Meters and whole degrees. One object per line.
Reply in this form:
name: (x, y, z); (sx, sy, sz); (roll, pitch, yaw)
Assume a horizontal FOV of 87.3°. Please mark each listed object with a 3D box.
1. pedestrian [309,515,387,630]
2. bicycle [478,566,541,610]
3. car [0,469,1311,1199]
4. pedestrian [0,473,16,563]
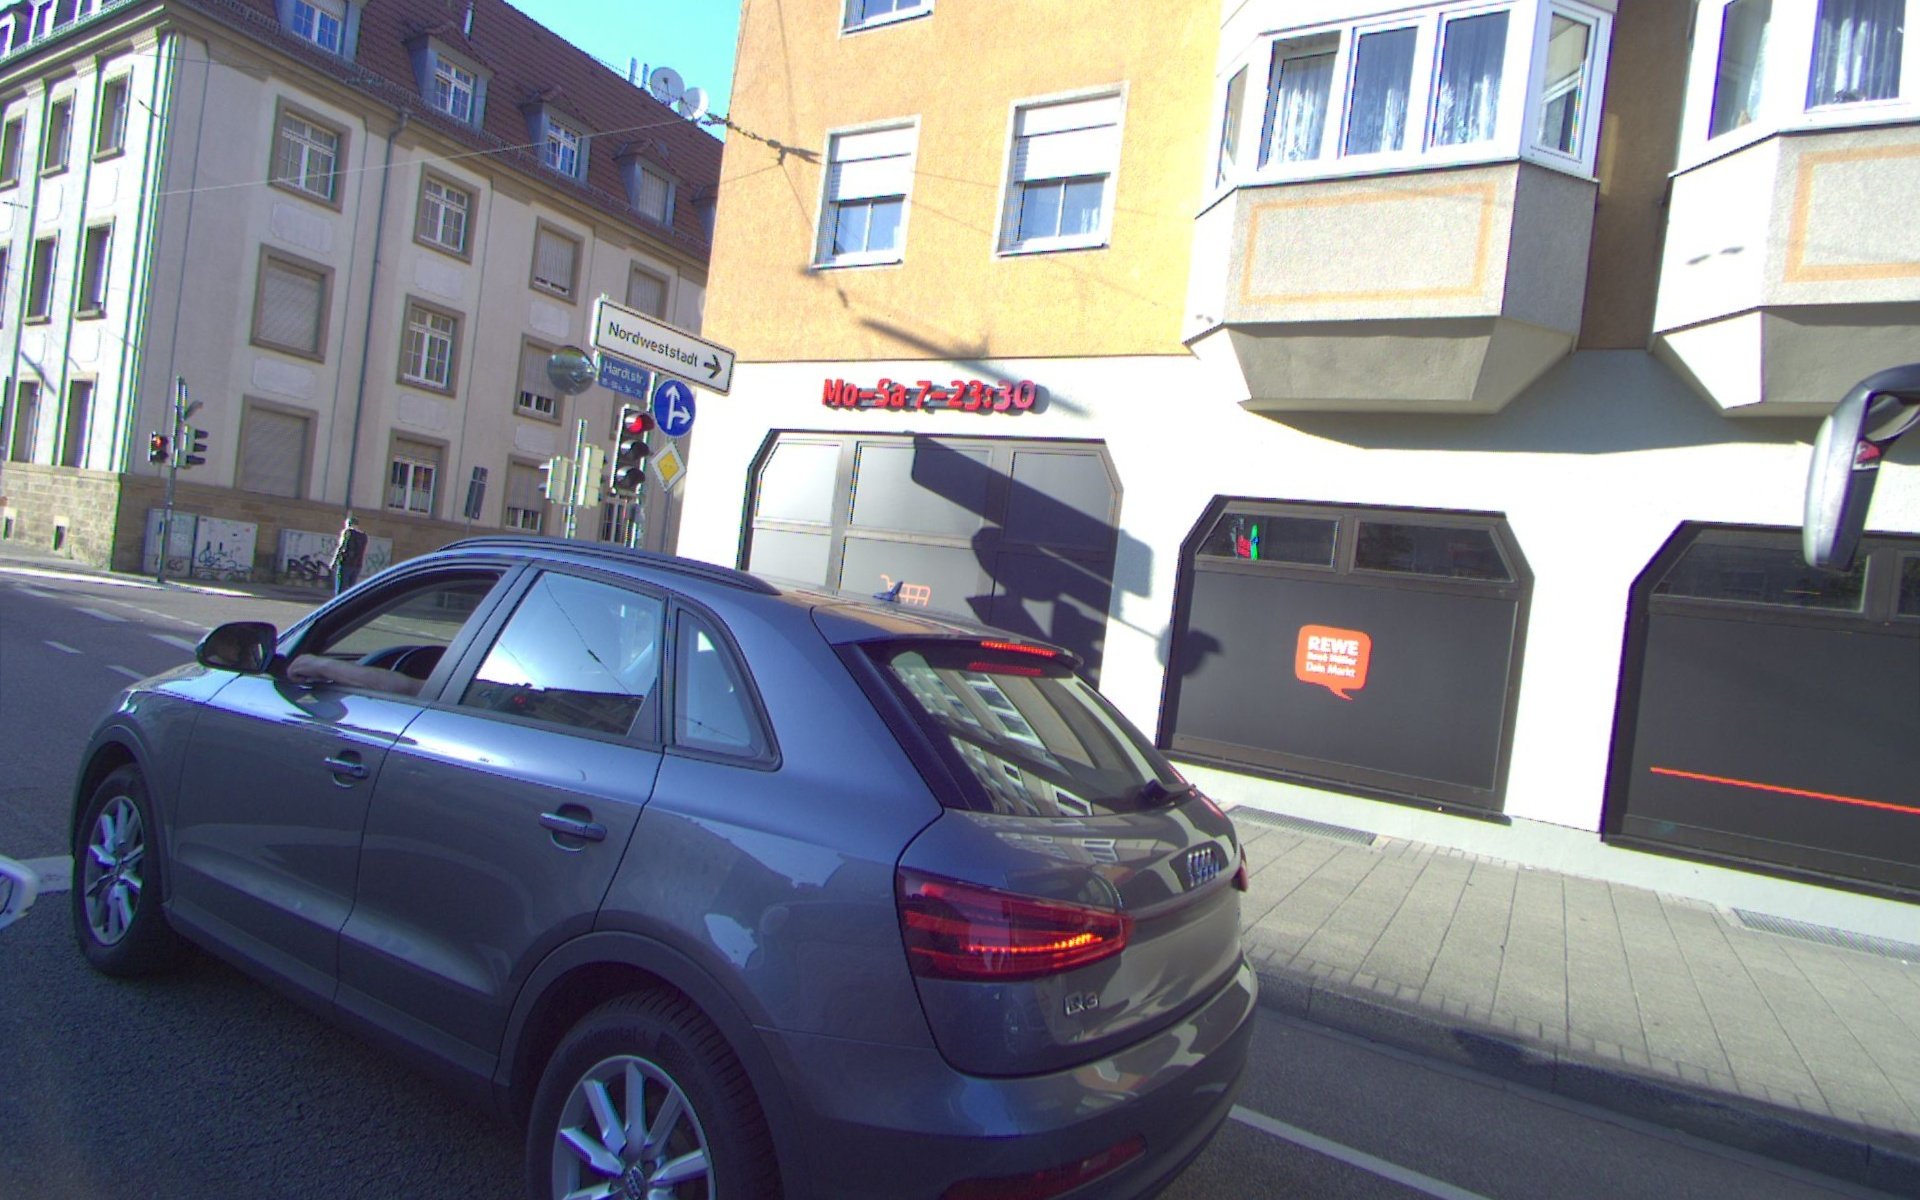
pedestrian: (-10.121, -0.455, 16.640); (0.812, 1.778, 0.630); (6, -1, 32)
bicycle: (-12.512, -0.328, 27.960); (1.499, 1.029, 0.247); (9, -2, -43)
car: (-1.258, 0.606, 3.307); (4.155, 1.570, 1.701); (7, -2, 32)
pedestrian: (-19.620, -1.700, 20.036); (0.810, 1.783, 0.837); (6, -1, 31)
